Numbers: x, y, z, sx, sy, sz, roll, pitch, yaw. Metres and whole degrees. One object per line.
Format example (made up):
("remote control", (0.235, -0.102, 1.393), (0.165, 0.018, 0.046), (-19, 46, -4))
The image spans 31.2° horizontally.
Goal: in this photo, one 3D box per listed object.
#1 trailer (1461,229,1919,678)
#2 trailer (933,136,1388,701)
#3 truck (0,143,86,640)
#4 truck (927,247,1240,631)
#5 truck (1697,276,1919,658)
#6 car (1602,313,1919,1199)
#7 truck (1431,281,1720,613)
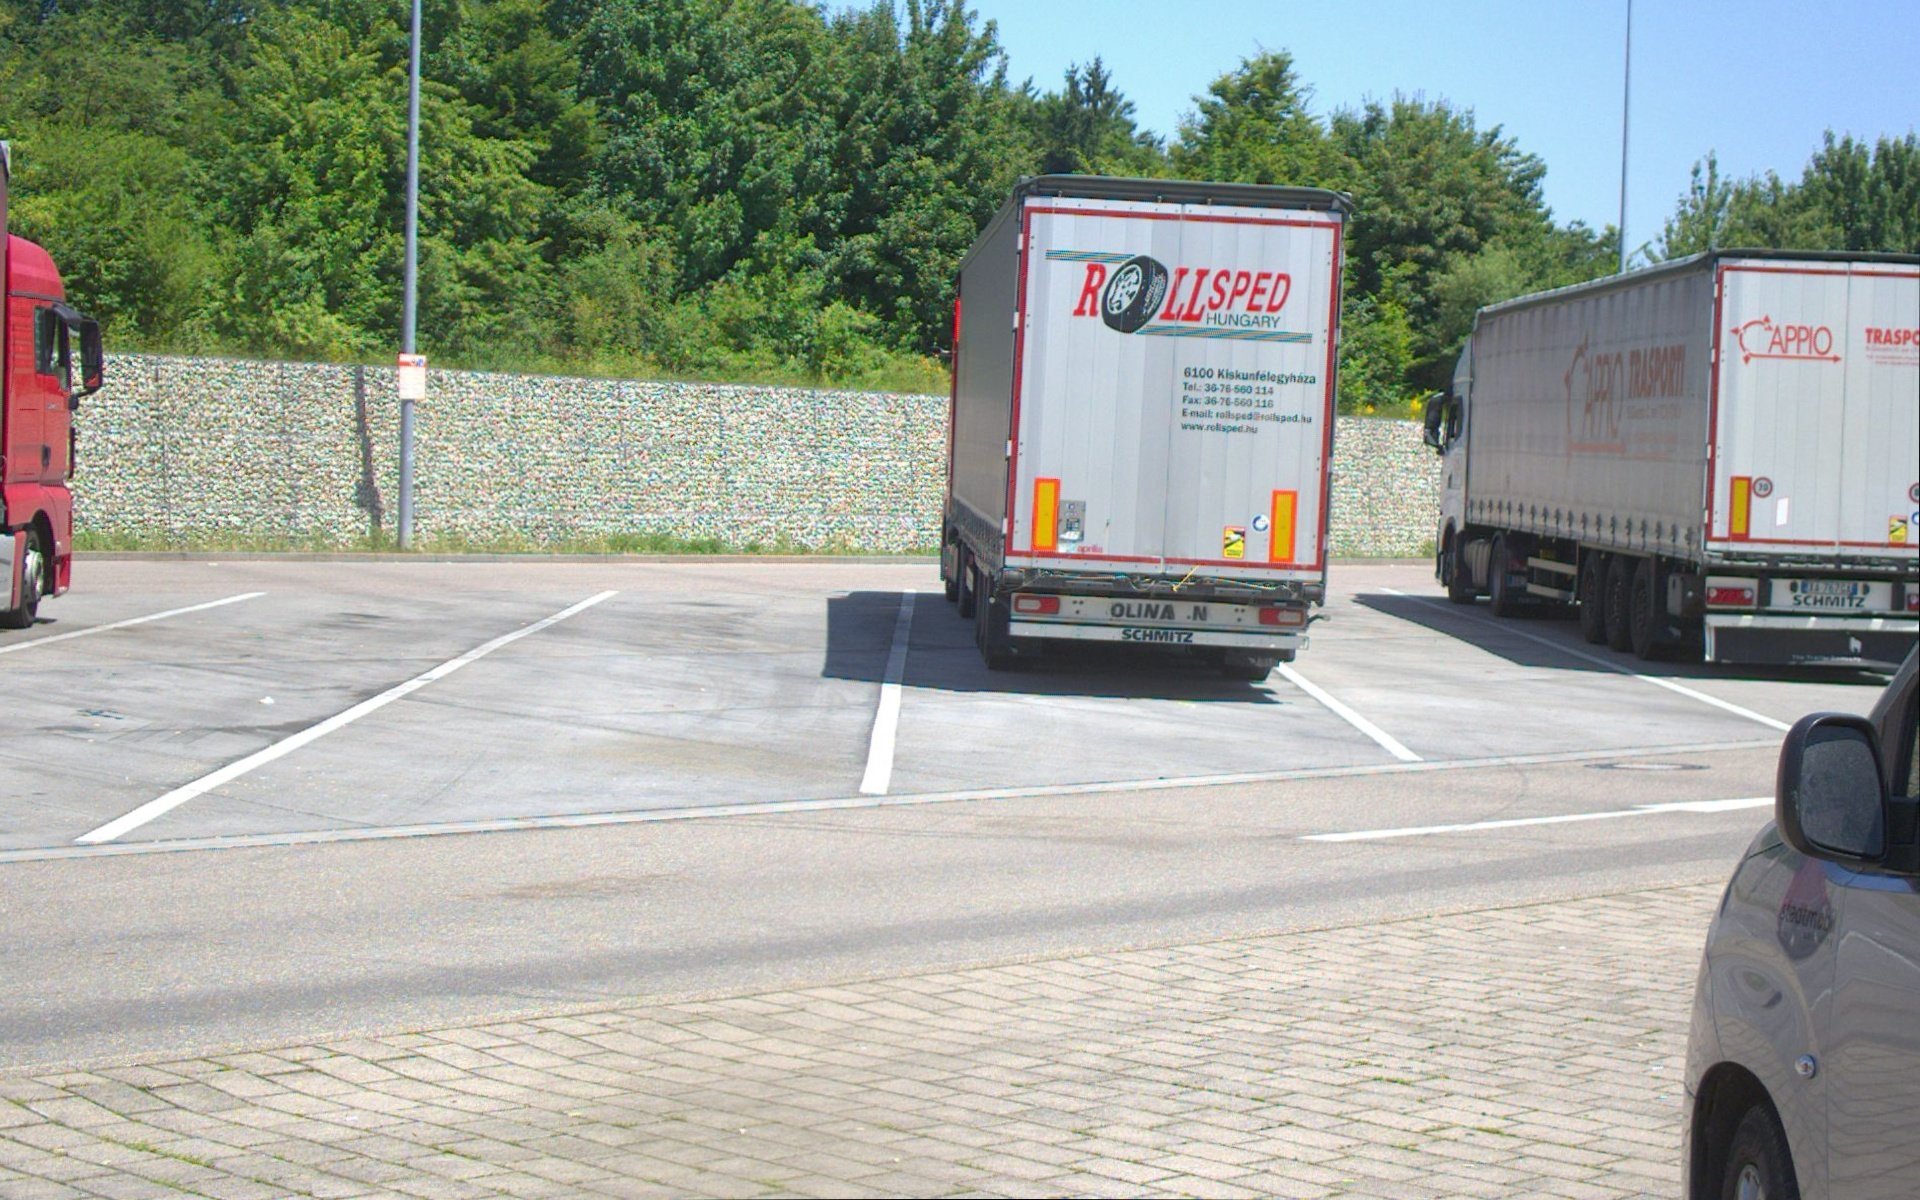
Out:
("trailer", (8.139, -1.575, 38.488), (2.876, 4.110, 13.572), (1, 2, -1))
("trailer", (1.476, -1.698, 32.652), (3.069, 4.213, 12.810), (2, 3, -2))
("truck", (-9.234, -1.703, 27.671), (2.743, 4.067, 6.830), (1, 2, -1))
("truck", (1.262, -1.857, 39.420), (3.026, 3.915, 6.847), (2, 3, -2))
("truck", (11.729, -1.476, 39.820), (2.904, 4.110, 14.528), (3, 2, -1))
("car", (2.132, 0.544, 3.809), (1.825, 1.747, 4.001), (1, 2, -4))
("truck", (8.026, -1.992, 45.484), (2.757, 4.110, 5.285), (1, 2, -1))
